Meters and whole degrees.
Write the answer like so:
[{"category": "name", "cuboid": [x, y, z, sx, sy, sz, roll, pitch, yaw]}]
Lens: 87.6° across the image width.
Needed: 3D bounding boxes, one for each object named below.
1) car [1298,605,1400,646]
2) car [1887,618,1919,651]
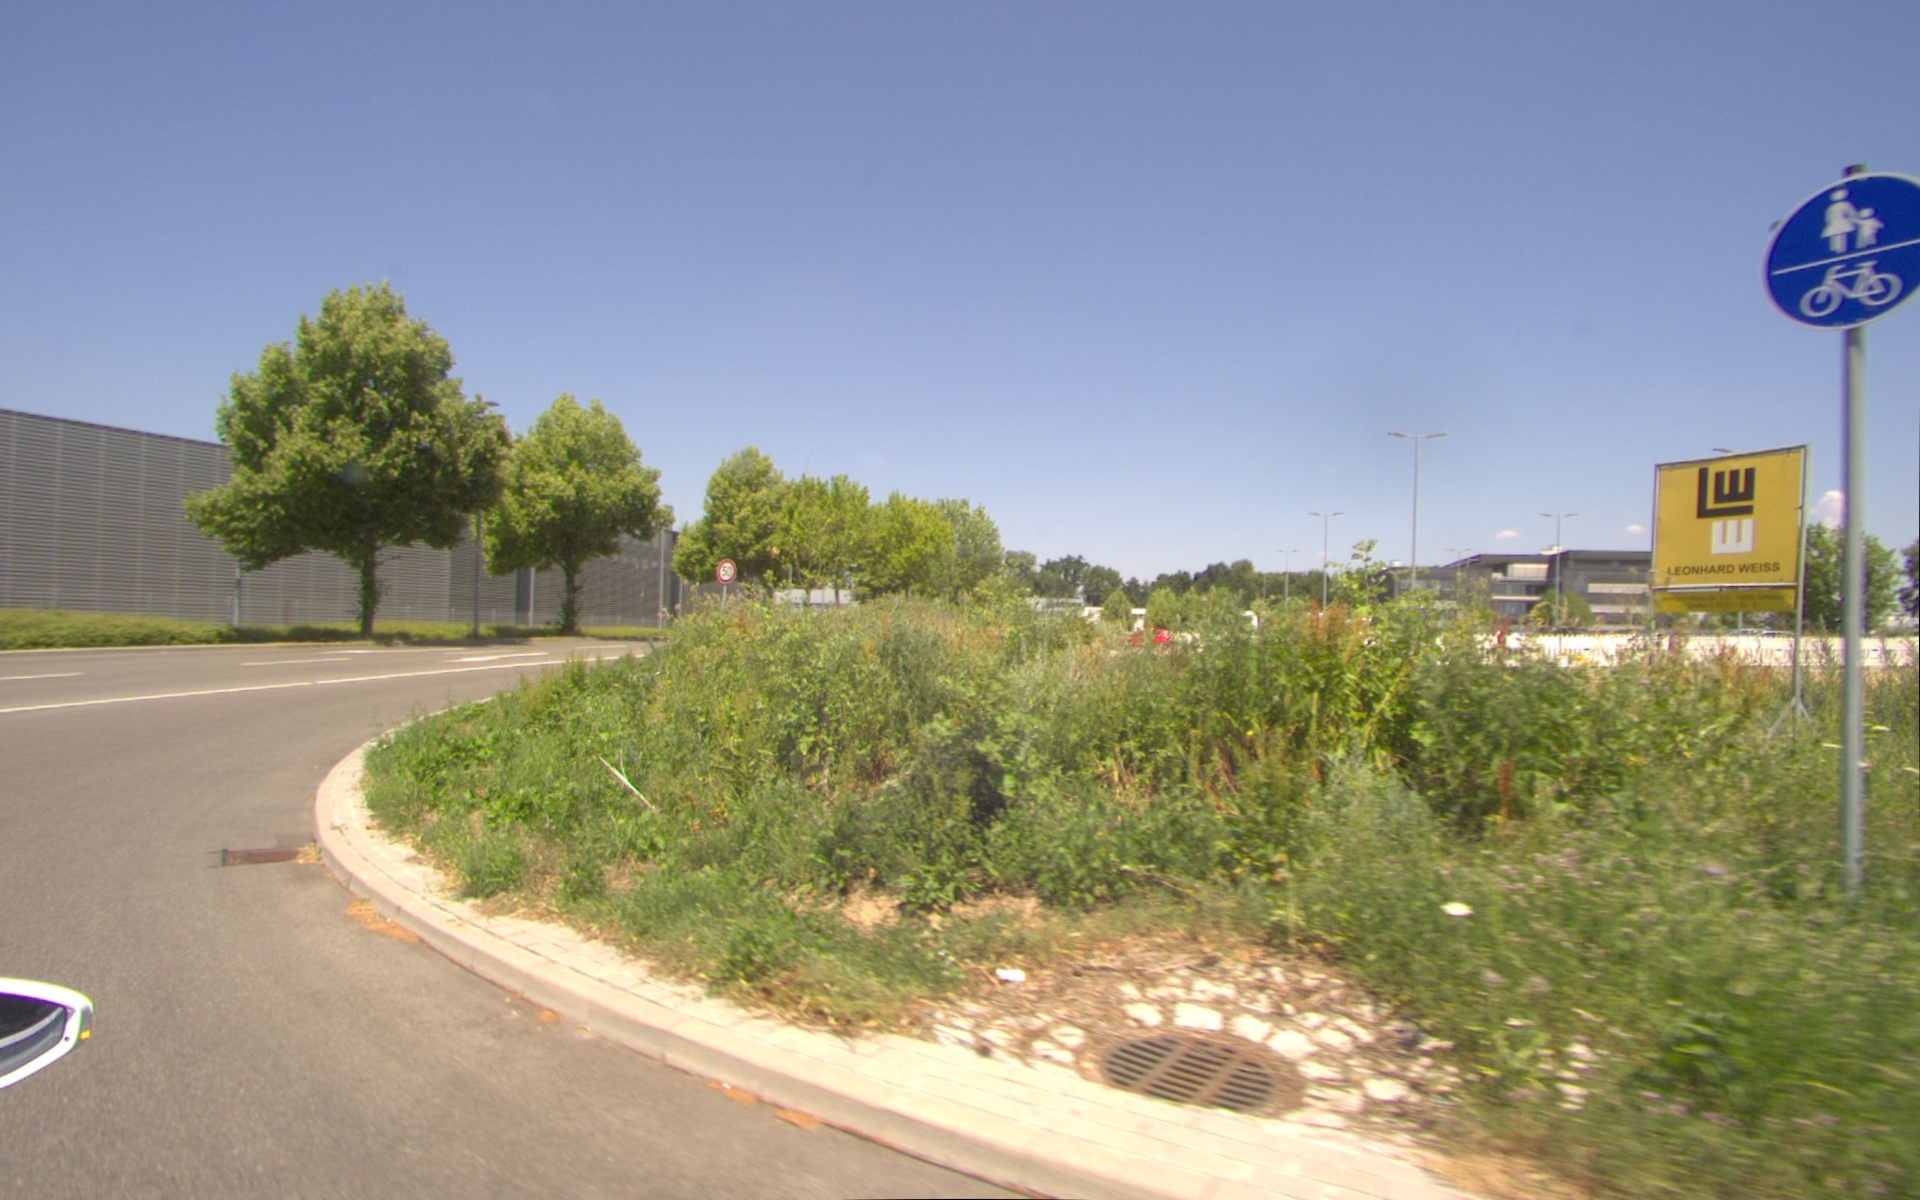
[{"category": "car", "cuboid": [18.910, 1.228, 48.864, 4.392, 1.939, 1.939, 0, -1, 11]}, {"category": "car", "cuboid": [52.791, 1.843, 53.871, 3.922, 1.662, 1.999, 0, 1, 1]}]
